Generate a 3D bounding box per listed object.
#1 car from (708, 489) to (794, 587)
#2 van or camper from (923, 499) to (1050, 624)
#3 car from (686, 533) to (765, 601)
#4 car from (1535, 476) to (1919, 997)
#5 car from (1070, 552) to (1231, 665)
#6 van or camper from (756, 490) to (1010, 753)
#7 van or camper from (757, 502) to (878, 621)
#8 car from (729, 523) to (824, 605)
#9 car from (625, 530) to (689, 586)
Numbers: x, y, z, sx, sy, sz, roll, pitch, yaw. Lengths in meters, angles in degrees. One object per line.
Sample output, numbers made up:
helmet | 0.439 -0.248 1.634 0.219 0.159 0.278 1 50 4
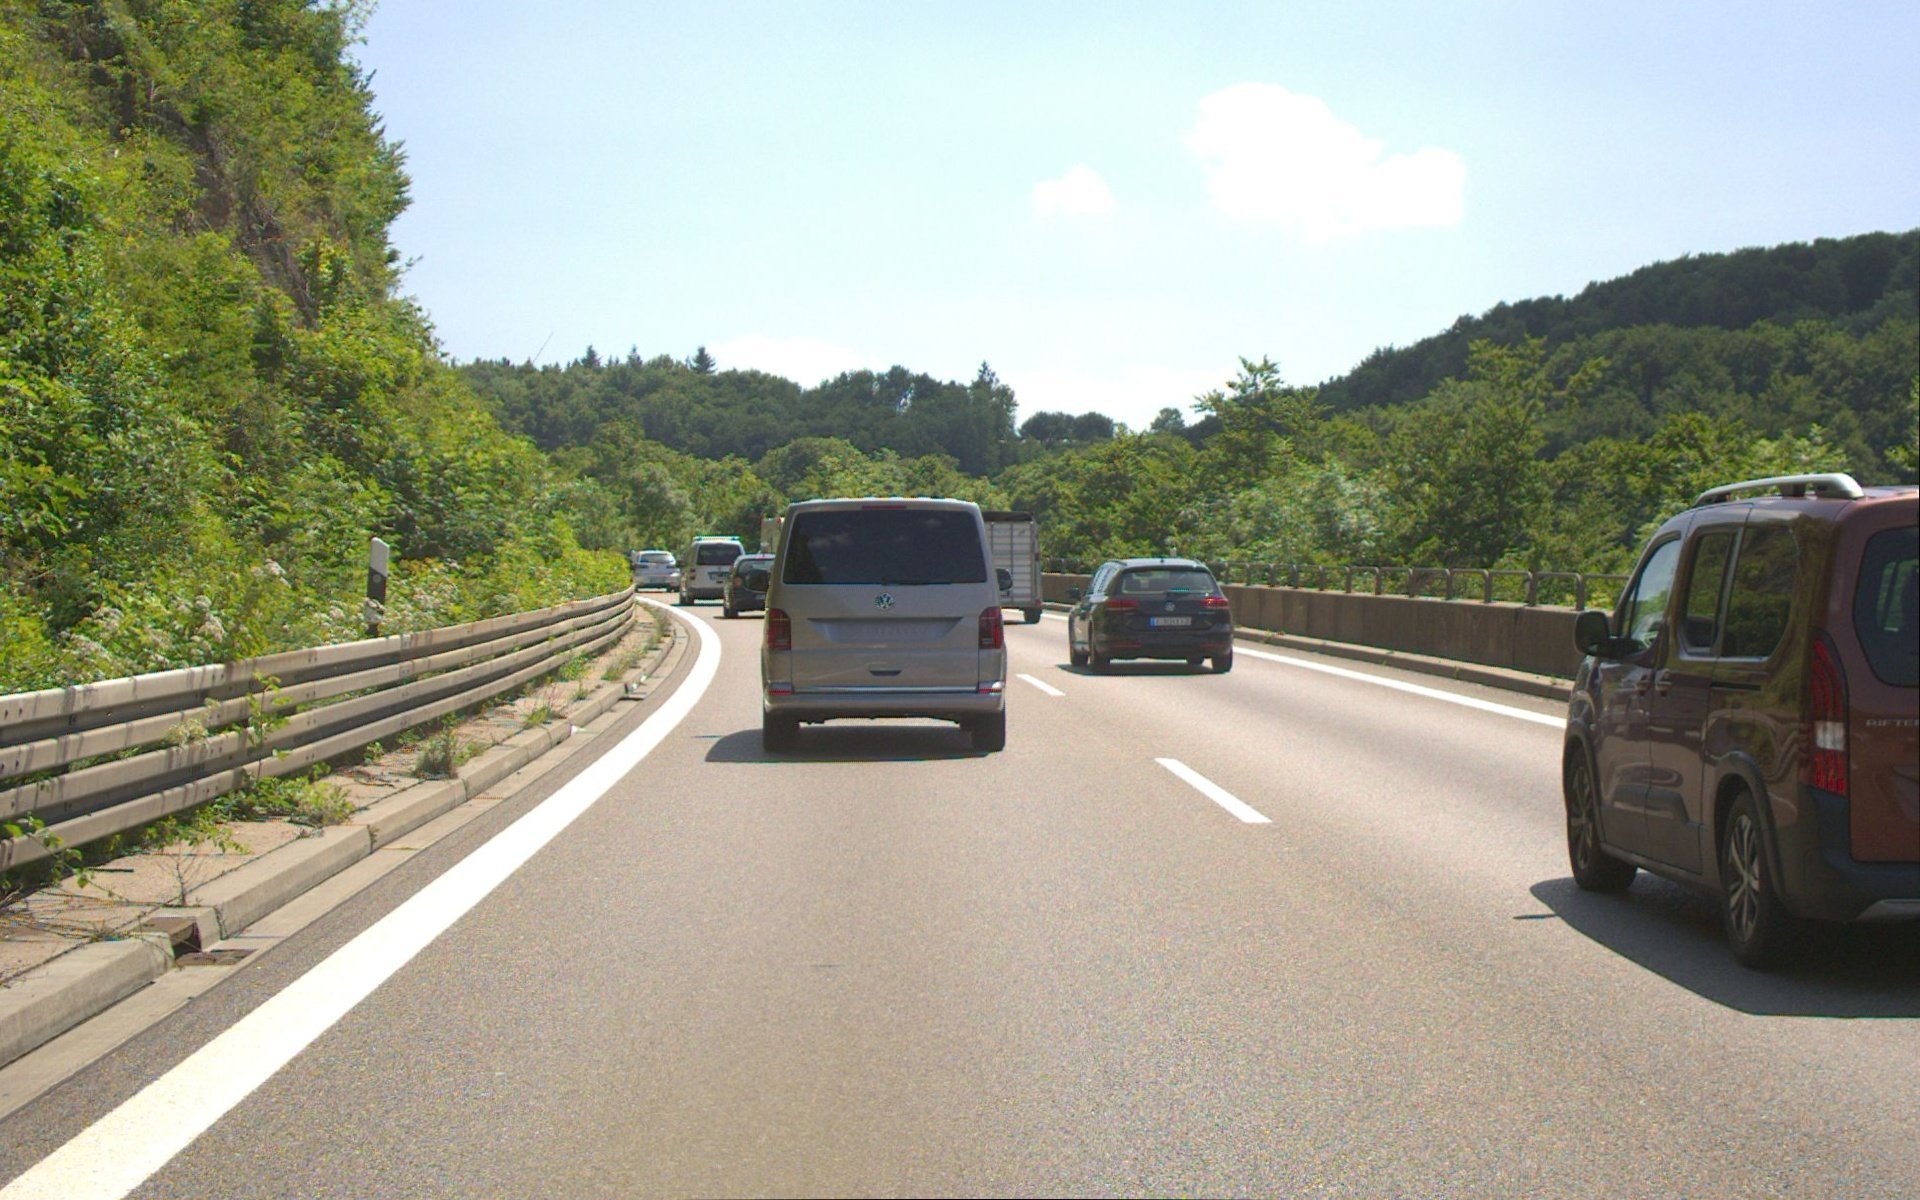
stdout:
car | -10.673 -3.140 174.703 4.042 4.855 10.111 0 1 -5
van or camper | 0.519 -0.826 73.392 2.263 2.542 4.737 -1 1 -4
car | -6.474 -0.931 95.340 1.993 1.811 4.000 0 1 -1
car | 3.675 0.448 14.067 1.833 1.778 4.676 0 0 0
car | 2.431 0.084 44.640 1.768 1.371 3.593 1 1 -2
van or camper | -0.695 0.131 27.688 1.875 1.943 4.294 -1 1 -3
van or camper | -4.753 -1.283 113.002 3.275 3.776 8.113 0 1 -7
car | -4.257 -0.838 79.245 1.993 1.811 4.001 0 1 -6
car | -10.446 -1.450 118.290 1.993 1.908 4.001 0 1 -8
